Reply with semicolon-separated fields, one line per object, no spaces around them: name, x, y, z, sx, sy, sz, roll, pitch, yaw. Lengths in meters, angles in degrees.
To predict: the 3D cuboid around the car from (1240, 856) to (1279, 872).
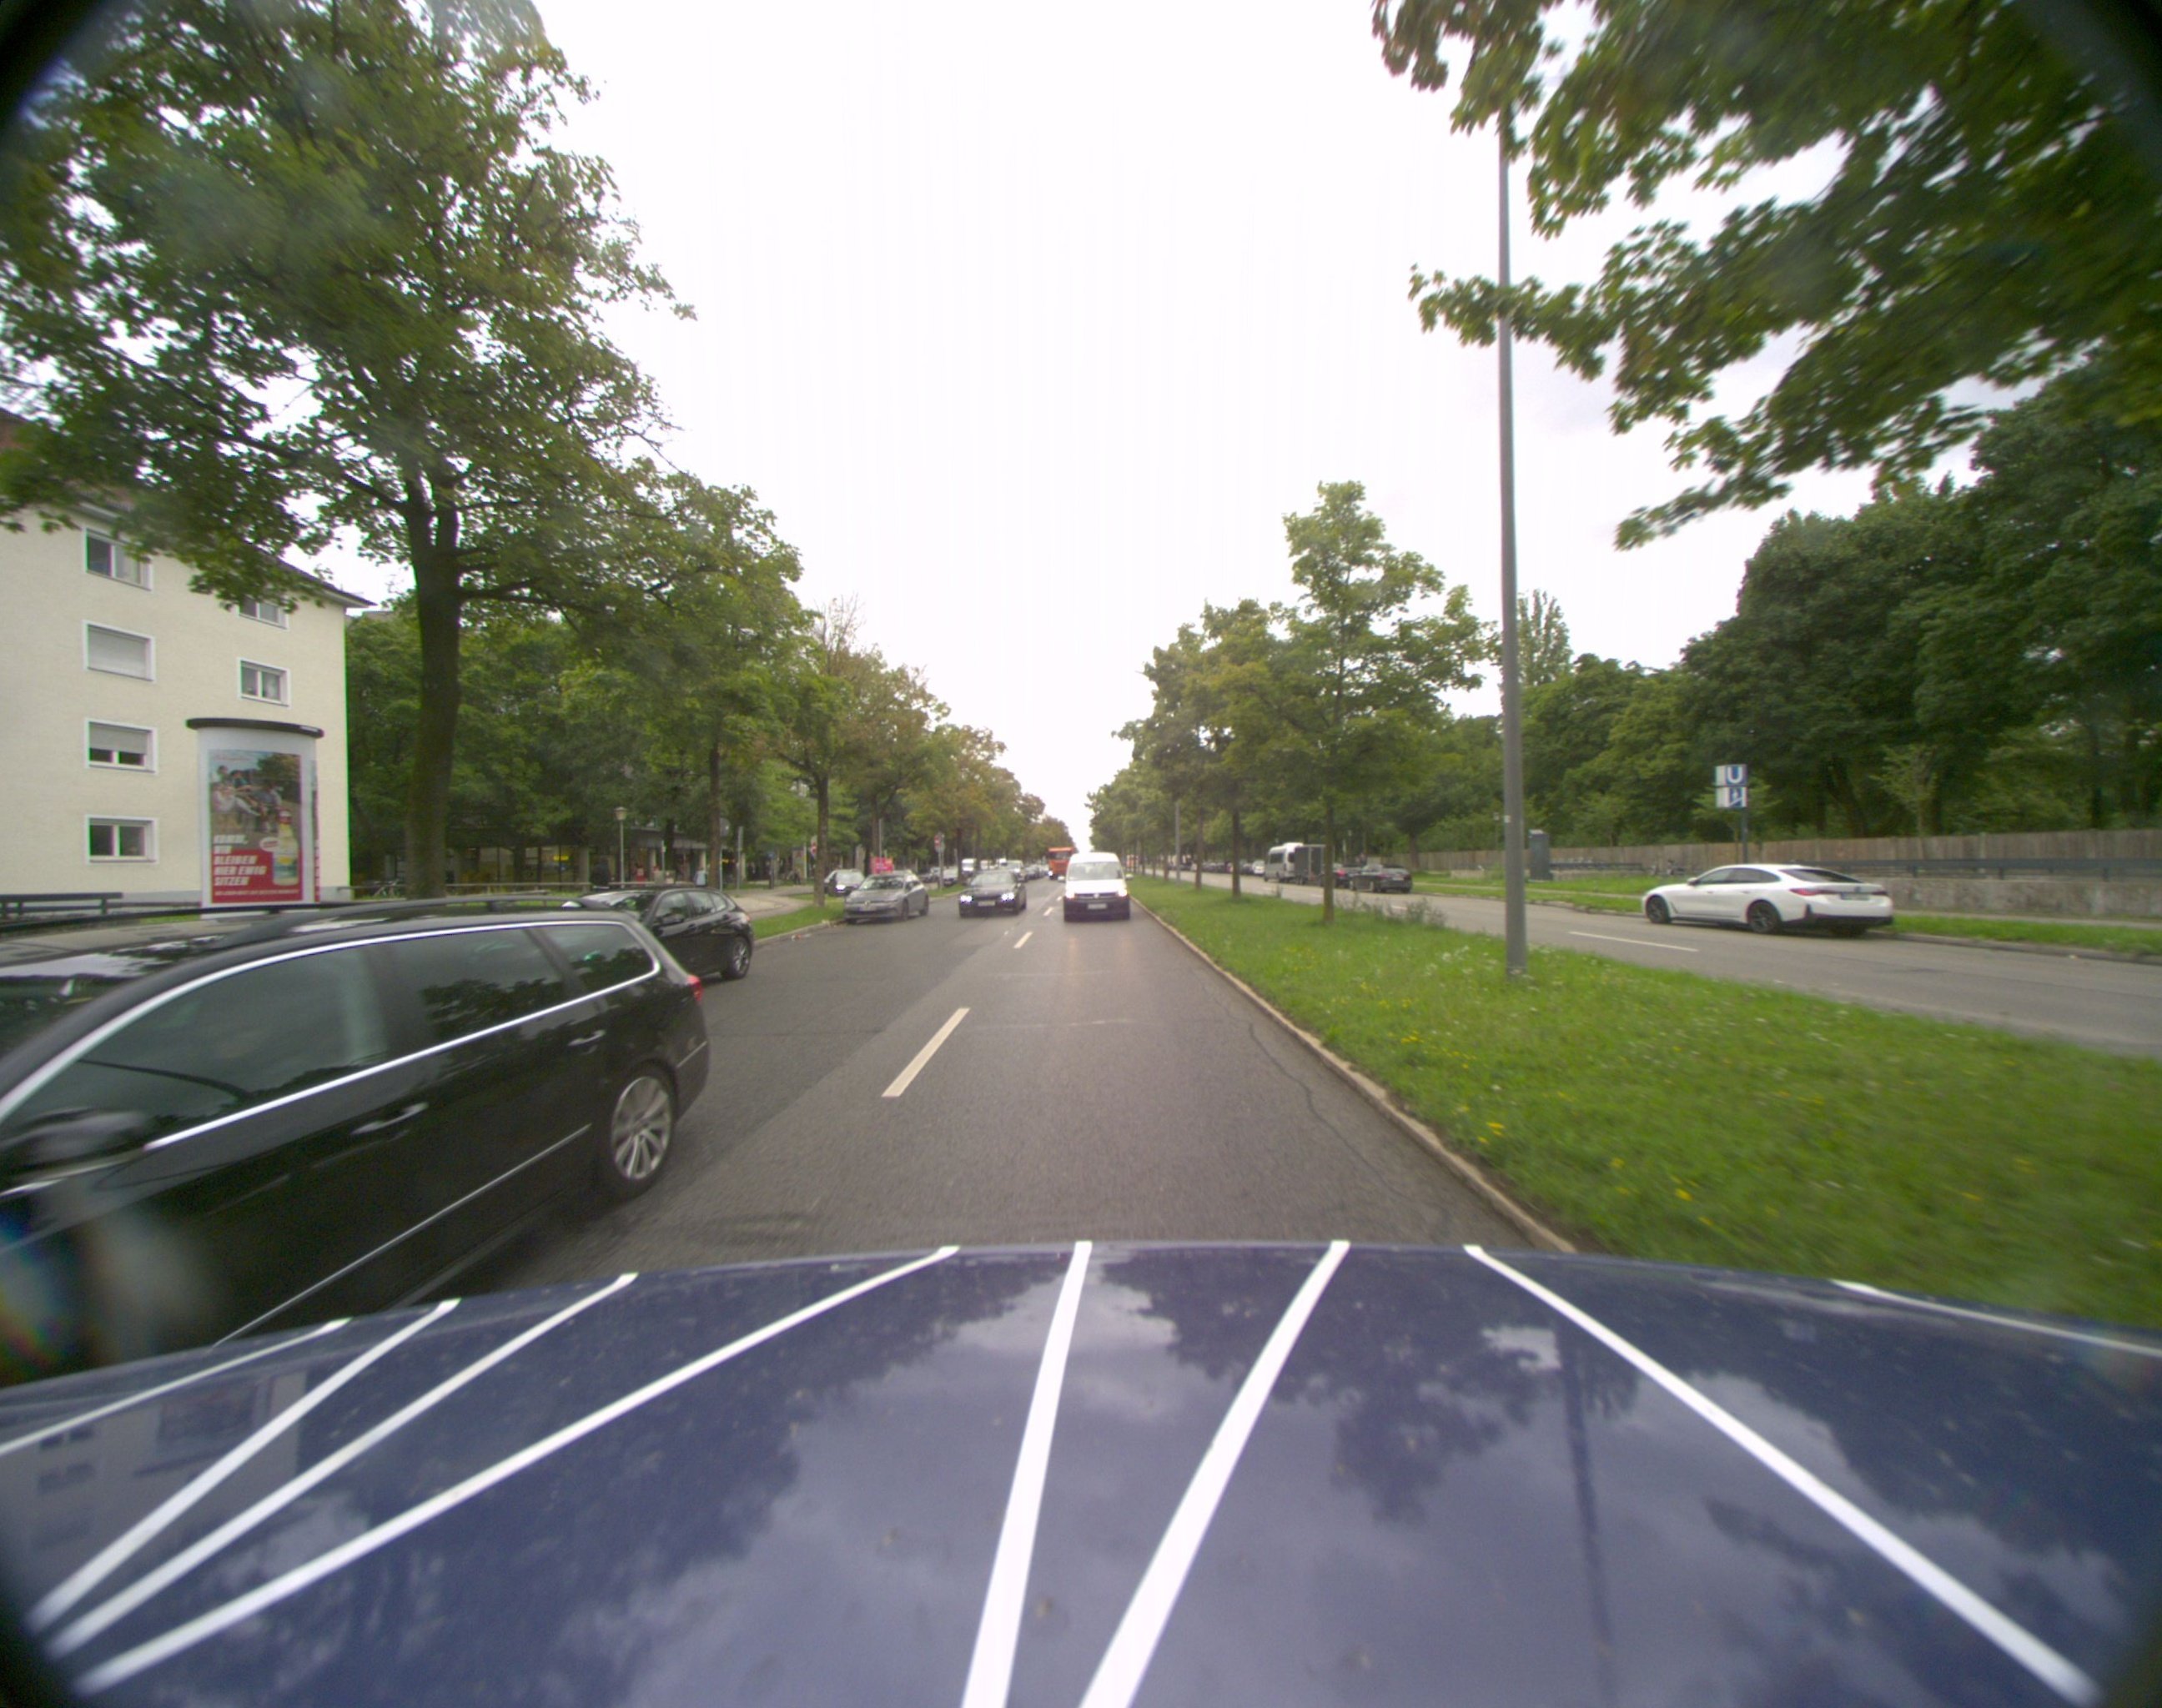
car;19.304;1.050;82.158;4.006;1.477;1.797;-3;-1;-34

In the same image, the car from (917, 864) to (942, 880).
car;-15.421;1.831;77.409;1.827;1.521;4.601;0;-1;-3

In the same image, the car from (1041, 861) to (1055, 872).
car;-4.685;1.752;107.150;1.735;1.498;4.442;-3;0;0

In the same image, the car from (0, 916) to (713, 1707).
car;-3.032;1.089;2.118;1.735;1.424;4.442;-3;0;1

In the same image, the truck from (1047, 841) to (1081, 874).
truck;-1.691;0.370;79.048;3.046;3.170;9.134;-2;0;1

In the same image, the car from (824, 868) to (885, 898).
car;-11.984;1.517;40.470;1.726;1.371;4.352;-2;0;3

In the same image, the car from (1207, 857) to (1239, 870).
car;19.427;1.270;103.712;4.006;1.548;1.887;-3;-1;-31

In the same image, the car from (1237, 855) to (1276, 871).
car;19.661;1.007;85.147;4.005;1.577;1.798;-3;-1;-28

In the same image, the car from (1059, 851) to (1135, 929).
car;0.382;0.897;20.724;1.750;1.807;4.667;-3;0;0

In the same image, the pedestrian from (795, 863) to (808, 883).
pedestrian;-21.588;1.454;58.694;0.659;1.533;0.633;1;1;30

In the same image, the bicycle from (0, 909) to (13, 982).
bicycle;-16.378;1.316;10.666;1.883;1.022;0.432;0;1;-7

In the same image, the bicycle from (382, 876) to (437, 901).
bicycle;-26.794;1.381;30.332;1.696;0.965;0.455;-1;0;-3

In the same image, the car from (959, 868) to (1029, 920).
car;-2.757;1.245;24.989;1.763;1.405;4.462;-3;0;0

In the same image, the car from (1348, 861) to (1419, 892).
car;14.913;1.071;37.698;1.804;1.417;4.431;0;0;1

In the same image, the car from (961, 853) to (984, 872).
car;-15.126;1.157;106.144;2.268;2.514;5.858;-1;0;1

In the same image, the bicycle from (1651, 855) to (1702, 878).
bicycle;25.511;0.538;32.540;1.824;0.924;0.433;-2;0;0

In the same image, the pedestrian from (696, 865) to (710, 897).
pedestrian;-19.537;1.389;39.261;0.581;1.565;0.779;-2;1;-30

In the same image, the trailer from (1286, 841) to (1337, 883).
trailer;15.071;0.521;49.984;2.022;2.575;4.659;0;0;1

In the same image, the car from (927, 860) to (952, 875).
car;-15.411;1.451;83.037;1.826;1.624;4.500;0;0;0

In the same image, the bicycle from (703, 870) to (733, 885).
bicycle;-28.250;1.840;59.164;2.080;1.113;0.455;-1;0;1

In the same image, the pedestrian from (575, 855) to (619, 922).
pedestrian;-12.800;0.900;20.109;0.641;1.739;0.849;1;0;-4

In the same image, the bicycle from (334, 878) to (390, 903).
bicycle;-28.578;1.439;30.215;1.696;0.965;0.455;-1;0;-3

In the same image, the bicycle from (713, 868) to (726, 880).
bicycle;-32.367;1.787;68.028;0.455;1.113;1.554;-1;0;-3

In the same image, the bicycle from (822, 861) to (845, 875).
bicycle;-27.764;1.562;85.239;2.313;1.523;0.649;-1;0;1

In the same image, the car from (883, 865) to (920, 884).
car;-15.239;1.722;64.731;1.826;1.522;4.603;0;0;3

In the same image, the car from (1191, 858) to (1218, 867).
car;19.322;1.314;118.916;4.006;1.357;1.588;-2;0;-30

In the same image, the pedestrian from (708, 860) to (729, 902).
pedestrian;-15.237;1.117;31.937;0.642;1.720;0.599;-3;1;-39

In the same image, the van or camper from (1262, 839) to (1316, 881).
van or camper;15.185;0.431;56.039;2.040;2.821;7.547;0;0;1

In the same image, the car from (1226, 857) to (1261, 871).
car;20.166;1.220;94.490;4.005;1.446;1.737;-3;-1;-27

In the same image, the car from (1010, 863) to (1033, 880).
car;-5.359;1.563;68.841;1.701;1.440;4.041;-3;0;-1

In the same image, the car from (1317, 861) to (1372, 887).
car;15.190;1.131;44.066;1.804;1.376;4.238;0;0;1

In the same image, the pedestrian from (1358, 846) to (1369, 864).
pedestrian;27.833;0.147;74.834;0.770;1.757;0.874;0;0;-3

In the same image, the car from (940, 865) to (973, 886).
car;-9.537;1.592;58.526;1.732;1.424;4.691;-2;0;1

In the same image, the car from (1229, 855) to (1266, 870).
car;20.062;1.025;91.442;4.005;1.454;1.888;-3;-1;-27

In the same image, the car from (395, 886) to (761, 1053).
car;-5.948;1.260;9.737;1.755;1.456;4.177;-3;0;2

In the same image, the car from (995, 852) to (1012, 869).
car;-12.419;1.051;121.895;1.978;2.641;6.006;-3;0;1

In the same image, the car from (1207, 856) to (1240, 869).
car;18.783;1.140;100.064;4.006;1.548;1.887;-3;-1;-31

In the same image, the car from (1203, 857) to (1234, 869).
car;19.292;1.246;106.643;4.006;1.548;1.887;-3;-1;-31

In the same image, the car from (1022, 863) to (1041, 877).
car;-5.122;1.637;78.676;1.686;1.367;4.081;-3;0;-1

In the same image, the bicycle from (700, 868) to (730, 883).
bicycle;-29.000;1.699;60.215;2.080;1.113;0.455;-1;0;1

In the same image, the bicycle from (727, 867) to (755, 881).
bicycle;-28.474;1.694;63.640;2.080;1.113;0.455;-1;0;1

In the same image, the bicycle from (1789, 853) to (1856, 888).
bicycle;24.657;0.540;25.305;0.432;1.094;1.826;-2;0;2

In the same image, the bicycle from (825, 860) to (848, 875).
bicycle;-28.005;1.521;87.068;2.313;1.613;0.649;-1;0;1

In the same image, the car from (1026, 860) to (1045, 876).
car;-5.064;1.557;84.388;1.686;1.631;4.465;-4;0;1

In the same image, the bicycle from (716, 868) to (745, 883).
bicycle;-28.222;1.719;61.180;2.080;1.113;0.455;-1;0;1

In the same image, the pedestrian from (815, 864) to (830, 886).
pedestrian;-18.895;1.507;55.583;0.658;1.584;0.755;-1;0;19

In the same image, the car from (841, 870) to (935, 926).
car;-5.897;1.304;23.664;1.686;1.456;4.115;-3;0;2

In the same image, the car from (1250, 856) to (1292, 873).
car;19.788;1.080;79.169;4.331;1.564;1.797;-2;0;-33

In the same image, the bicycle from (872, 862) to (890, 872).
bicycle;-27.494;1.749;104.659;2.313;1.294;0.649;-1;0;2

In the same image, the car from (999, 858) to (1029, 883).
car;-5.420;1.312;62.287;1.886;1.916;4.933;-3;0;1

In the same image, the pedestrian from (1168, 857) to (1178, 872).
pedestrian;10.231;1.142;84.494;0.872;1.689;0.771;0;1;21

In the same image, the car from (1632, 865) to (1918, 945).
car;14.842;0.991;16.753;1.861;1.464;4.875;0;0;0

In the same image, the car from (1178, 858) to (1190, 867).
car;18.458;1.521;136.721;1.889;1.435;4.170;-2;0;5

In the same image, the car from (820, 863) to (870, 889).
car;-15.644;1.450;50.657;1.826;1.624;4.199;0;0;3

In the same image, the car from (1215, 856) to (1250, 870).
car;19.390;1.121;97.489;4.005;1.548;1.888;-3;-1;-27

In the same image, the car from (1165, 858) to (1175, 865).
car;19.040;1.643;162.620;1.889;1.435;4.170;-2;0;5

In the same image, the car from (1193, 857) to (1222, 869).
car;19.308;1.352;115.658;4.006;1.548;1.887;-3;-1;-31

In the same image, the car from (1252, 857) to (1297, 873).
car;19.250;1.069;75.515;4.331;1.430;1.797;-2;0;-33

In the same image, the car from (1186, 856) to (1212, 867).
car;19.551;1.281;125.535;4.006;1.718;1.777;-2;0;-33

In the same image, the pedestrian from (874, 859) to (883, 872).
pedestrian;-26.525;1.533;99.705;0.872;1.689;0.771;0;1;15
